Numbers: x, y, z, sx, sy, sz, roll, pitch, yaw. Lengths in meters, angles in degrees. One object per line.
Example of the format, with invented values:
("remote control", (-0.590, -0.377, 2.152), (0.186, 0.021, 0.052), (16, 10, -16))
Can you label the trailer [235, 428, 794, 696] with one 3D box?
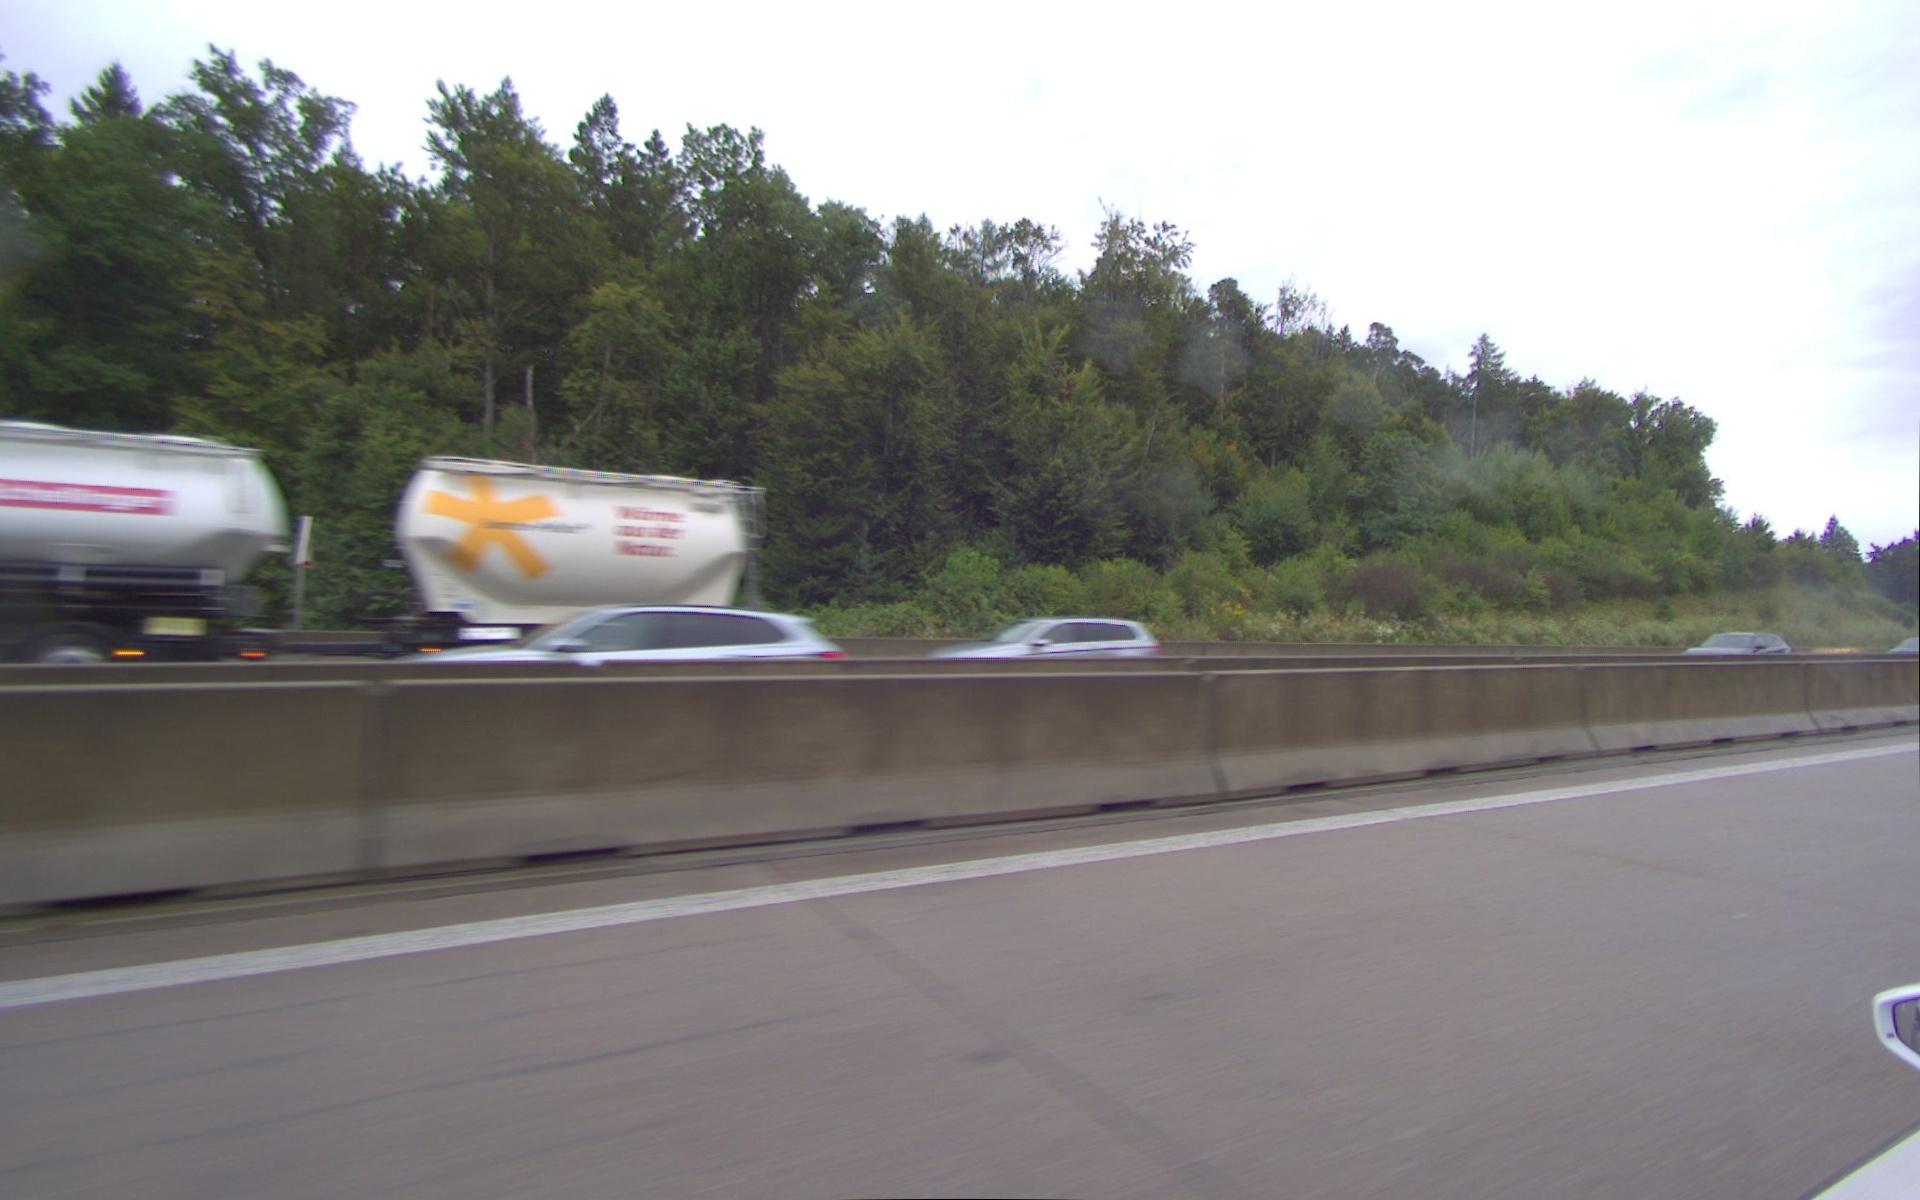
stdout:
("trailer", (-7.152, -0.439, 17.115), (8.134, 3.716, 2.533), (1, 0, -30))

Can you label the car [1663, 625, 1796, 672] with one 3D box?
("car", (25.114, 1.570, 32.739), (4.509, 1.351, 1.794), (2, 1, -29))

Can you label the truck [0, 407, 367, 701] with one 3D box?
("truck", (-13.851, -0.614, 13.148), (10.369, 3.716, 2.551), (1, 0, -31))

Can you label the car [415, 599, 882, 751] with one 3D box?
("car", (-3.343, 0.743, 11.147), (4.703, 1.390, 1.651), (1, 0, -30))

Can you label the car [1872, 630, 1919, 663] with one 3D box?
("car", (42.519, 2.043, 44.665), (4.514, 1.351, 1.792), (2, 0, -32))

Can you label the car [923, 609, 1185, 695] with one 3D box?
("car", (1.773, 0.913, 18.291), (4.666, 1.390, 1.651), (1, 0, -30))
